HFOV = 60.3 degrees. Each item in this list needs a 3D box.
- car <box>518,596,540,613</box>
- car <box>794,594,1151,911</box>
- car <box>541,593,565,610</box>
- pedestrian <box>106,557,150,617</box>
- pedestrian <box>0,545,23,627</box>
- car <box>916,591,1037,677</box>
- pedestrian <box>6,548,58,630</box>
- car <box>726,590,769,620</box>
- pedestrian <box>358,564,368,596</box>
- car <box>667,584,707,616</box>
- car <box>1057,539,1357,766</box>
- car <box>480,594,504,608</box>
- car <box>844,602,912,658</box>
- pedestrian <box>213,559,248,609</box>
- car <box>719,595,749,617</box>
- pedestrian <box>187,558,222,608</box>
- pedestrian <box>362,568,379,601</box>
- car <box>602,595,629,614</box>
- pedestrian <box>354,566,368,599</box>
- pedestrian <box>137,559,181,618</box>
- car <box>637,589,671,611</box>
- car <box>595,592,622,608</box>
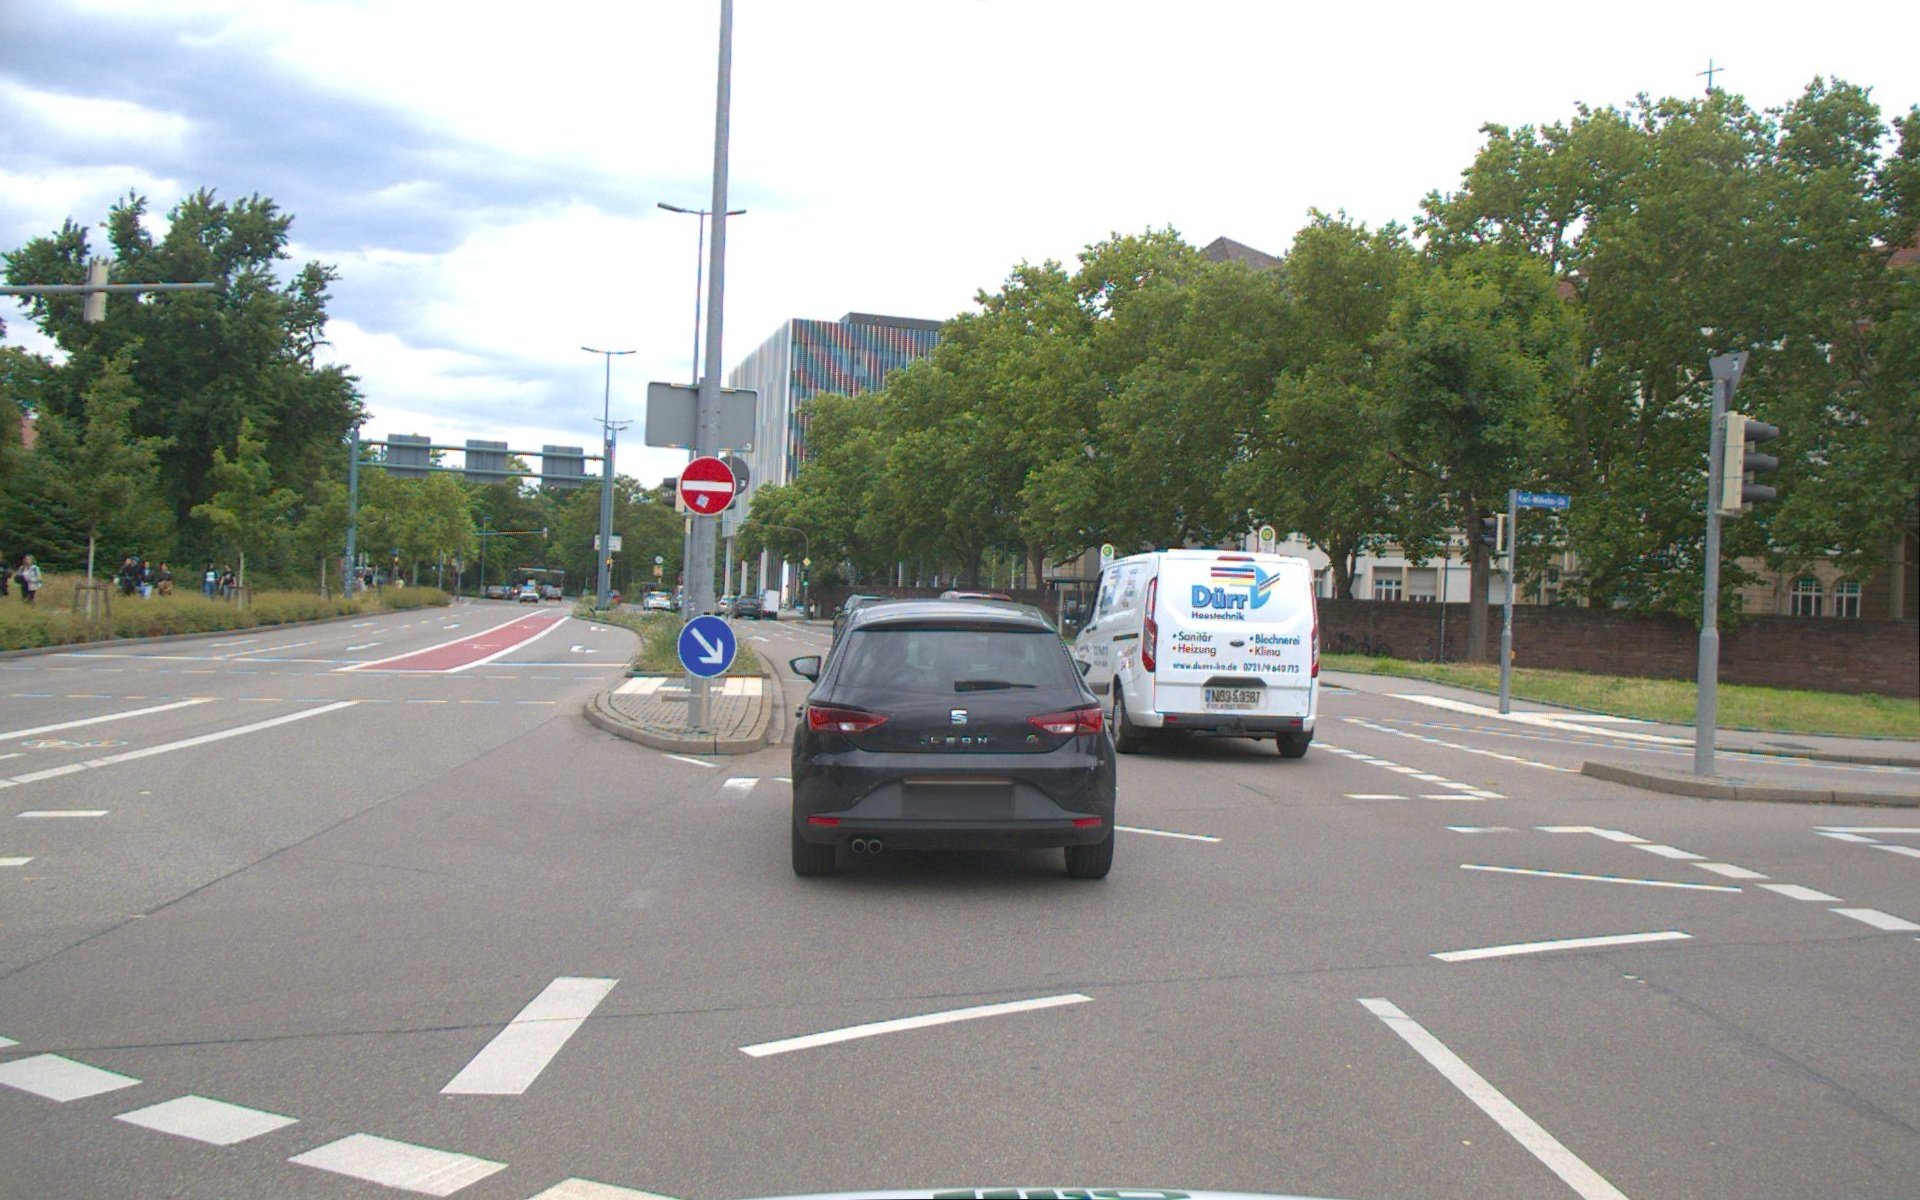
[{"bbox_3d":[-39.163,0.401,150.311,1.661,1.440,3.624,2,0,-19],"label":"car"},{"bbox_3d":[-0.091,0.783,9.983,1.711,1.490,3.996,-1,-2,-5],"label":"car"},{"bbox_3d":[-44.583,0.144,181.066,1.966,1.811,3.973,2,0,-22],"label":"car"},{"bbox_3d":[-25.891,-0.404,51.486,0.902,1.810,1.061,2,0,-11],"label":"pedestrian"},{"bbox_3d":[-24.538,-0.362,42.112,0.740,2.049,1.045,2,0,-6],"label":"pedestrian"},{"bbox_3d":[0.276,0.660,34.722,1.824,1.628,4.196,2,0,-9],"label":"car"},{"bbox_3d":[-23.794,-0.275,42.411,0.740,2.049,1.045,2,0,-6],"label":"pedestrian"},{"bbox_3d":[-13.351,0.297,103.664,1.888,1.713,3.978,2,0,-19],"label":"car"},{"bbox_3d":[-40.919,-1.362,113.305,0.461,2.194,0.475,2,0,-6],"label":"pedestrian"},{"bbox_3d":[-18.457,-0.045,111.711,1.963,2.049,3.979,2,0,-18],"label":"car"},{"bbox_3d":[2.458,0.475,17.927,1.955,2.054,5.025,2,0,-6],"label":"car"},{"bbox_3d":[-49.757,0.087,175.679,1.855,1.440,3.826,2,0,-25],"label":"car"},{"bbox_3d":[-2.637,0.914,52.341,1.954,1.593,4.201,2,0,-5],"label":"car"},{"bbox_3d":[-27.268,-0.610,61.856,0.902,1.810,1.061,2,0,-11],"label":"pedestrian"},{"bbox_3d":[-15.744,0.401,115.137,1.503,1.389,2.952,2,0,-20],"label":"car"},{"bbox_3d":[-28.176,-0.638,61.677,0.902,1.810,1.061,2,0,-11],"label":"pedestrian"},{"bbox_3d":[-36.304,-0.957,101.886,0.708,2.049,0.781,2,0,-6],"label":"pedestrian"},{"bbox_3d":[-32.879,0.400,157.837,1.964,1.711,3.989,3,0,-18],"label":"car"},{"bbox_3d":[-38.339,-1.121,105.896,0.654,2.049,0.595,2,0,-6],"label":"pedestrian"},{"bbox_3d":[-25.007,-0.363,51.653,0.902,1.810,1.061,2,0,-11],"label":"pedestrian"},{"bbox_3d":[-24.041,-0.020,129.989,1.964,1.668,3.977,2,0,-20],"label":"car"},{"bbox_3d":[-28.870,-0.009,135.867,1.686,1.287,3.320,2,0,-20],"label":"car"}]
